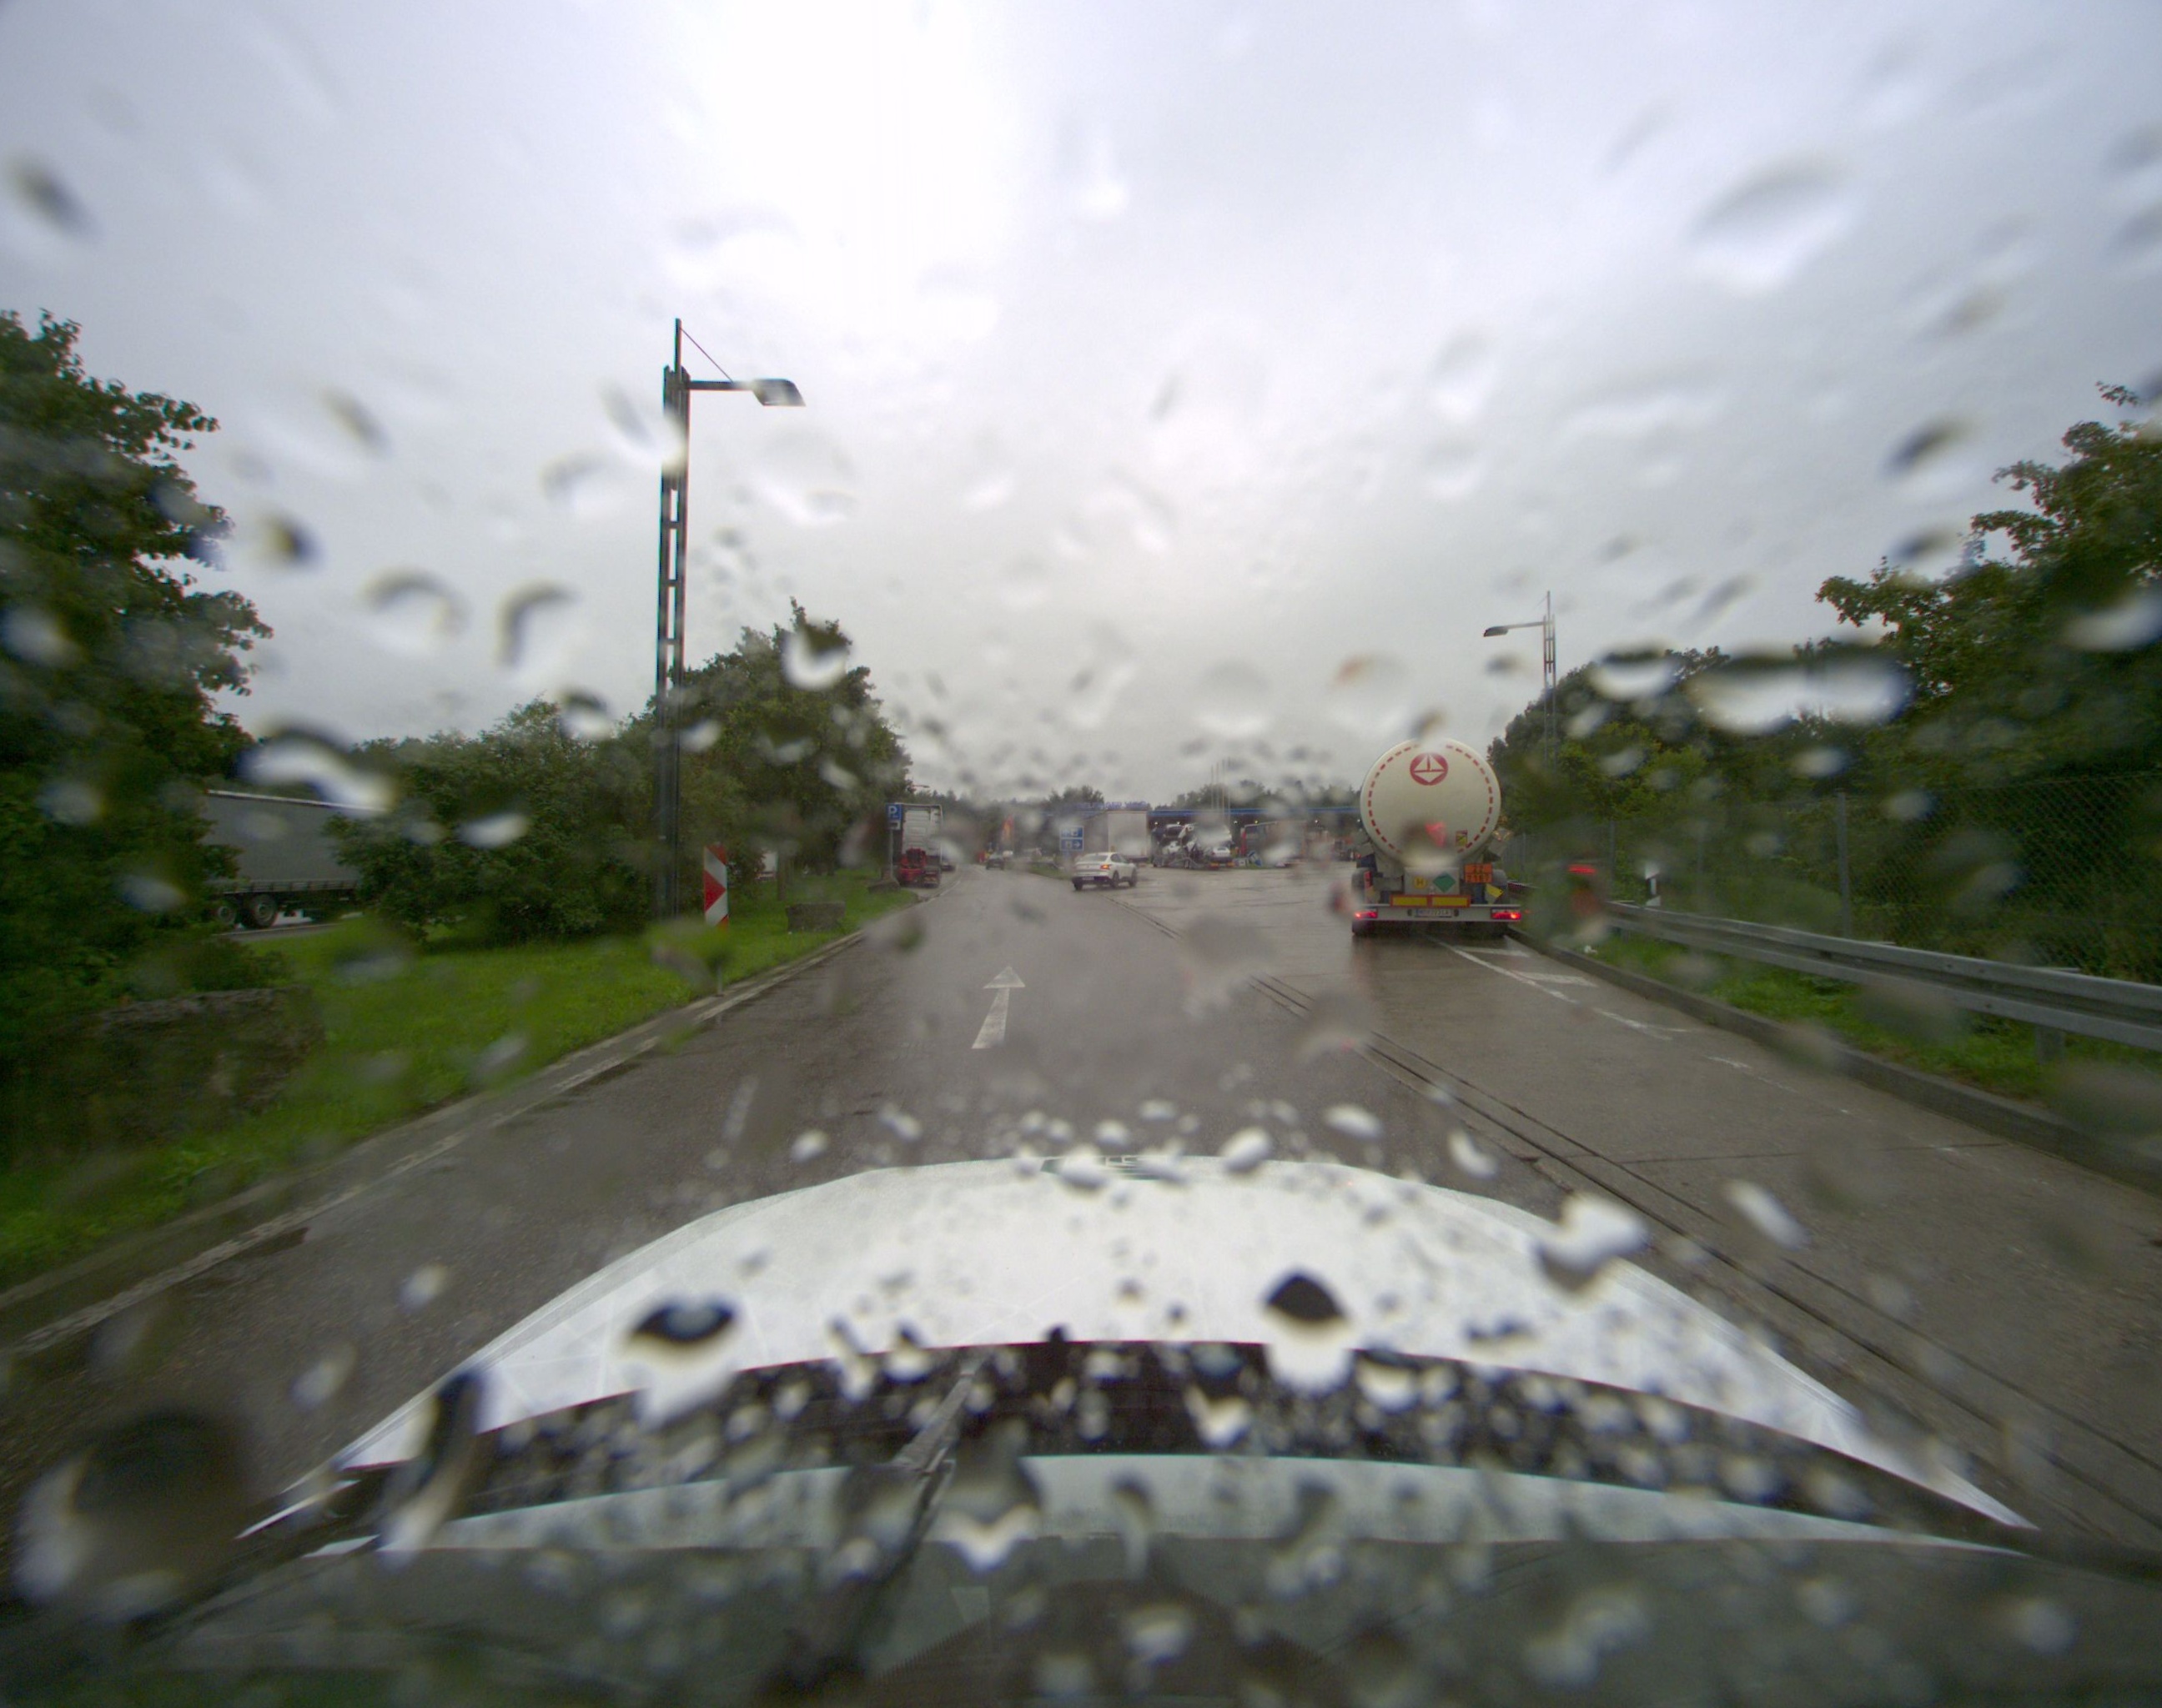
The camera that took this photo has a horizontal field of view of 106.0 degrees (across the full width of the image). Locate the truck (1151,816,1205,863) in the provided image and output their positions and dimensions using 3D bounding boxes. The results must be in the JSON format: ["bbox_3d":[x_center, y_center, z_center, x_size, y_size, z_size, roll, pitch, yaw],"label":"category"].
[{"bbox_3d":[8.934,-1.300,76.327,3.230,4.188,8.425,0,0,-6],"label":"truck"}]

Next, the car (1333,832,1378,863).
[{"bbox_3d":[19.932,-0.430,59.373,1.986,2.014,4.001,2,-2,2],"label":"car"}]

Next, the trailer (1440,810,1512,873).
[{"bbox_3d":[23.080,-0.683,47.405,2.161,3.392,7.612,-1,0,38],"label":"trailer"}]

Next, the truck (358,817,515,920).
[{"bbox_3d":[-27.997,0.633,35.764,2.873,4.053,5.913,-2,-1,-10],"label":"truck"}]

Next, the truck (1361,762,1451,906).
[{"bbox_3d":[8.914,-0.491,22.431,2.035,3.531,4.771,0,0,21],"label":"truck"}]

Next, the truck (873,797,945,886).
[{"bbox_3d":[-8.122,-0.570,39.133,2.914,3.904,6.298,-1,0,-8],"label":"truck"}]

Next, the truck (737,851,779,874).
[{"bbox_3d":[-46.525,1.187,117.365,5.243,3.003,1.994,3,0,-9],"label":"truck"}]

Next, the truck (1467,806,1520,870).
[{"bbox_3d":[25.805,-0.955,50.894,2.160,3.828,4.168,-1,0,38],"label":"truck"}]

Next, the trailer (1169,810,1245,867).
[{"bbox_3d":[10.022,-1.212,66.396,3.212,4.189,11.503,0,0,-6],"label":"trailer"}]

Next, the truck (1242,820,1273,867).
[{"bbox_3d":[17.562,-0.986,81.301,1.982,4.549,4.793,0,0,-1],"label":"truck"}]

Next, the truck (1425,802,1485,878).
[{"bbox_3d":[18.487,-0.639,40.126,2.125,3.513,4.675,-1,0,31],"label":"truck"}]

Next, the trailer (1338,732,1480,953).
[{"bbox_3d":[6.794,-0.175,17.092,1.963,3.224,10.375,0,0,21],"label":"trailer"}]

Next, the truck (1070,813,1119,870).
[{"bbox_3d":[0.900,-0.869,59.767,2.370,3.874,6.991,-1,0,-9],"label":"truck"}]

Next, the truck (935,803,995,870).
[{"bbox_3d":[-10.264,-1.437,70.975,4.792,5.305,11.031,0,0,-10],"label":"truck"}]

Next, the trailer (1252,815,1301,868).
[{"bbox_3d":[17.619,-1.038,74.007,1.987,4.559,9.805,0,0,-1],"label":"trailer"}]

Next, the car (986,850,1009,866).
[{"bbox_3d":[-8.035,0.373,78.639,1.873,1.461,3.997,0,0,-2],"label":"car"}]

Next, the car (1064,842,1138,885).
[{"bbox_3d":[0.922,0.401,34.404,1.977,1.679,4.019,-1,0,19],"label":"car"}]

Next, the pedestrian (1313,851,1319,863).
[{"bbox_3d":[32.616,0.436,112.962,0.712,1.521,0.747,1,-2,25],"label":"pedestrian"}]

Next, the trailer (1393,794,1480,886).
[{"bbox_3d":[15.641,-0.568,35.377,2.111,3.440,10.317,-1,0,31],"label":"trailer"}]

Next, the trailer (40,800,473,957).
[{"bbox_3d":[-26.643,0.807,28.194,2.896,3.983,14.065,-2,-1,-10],"label":"trailer"}]

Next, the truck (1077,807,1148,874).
[{"bbox_3d":[1.836,-0.819,54.131,2.370,3.874,12.417,-1,0,-9],"label":"truck"}]
